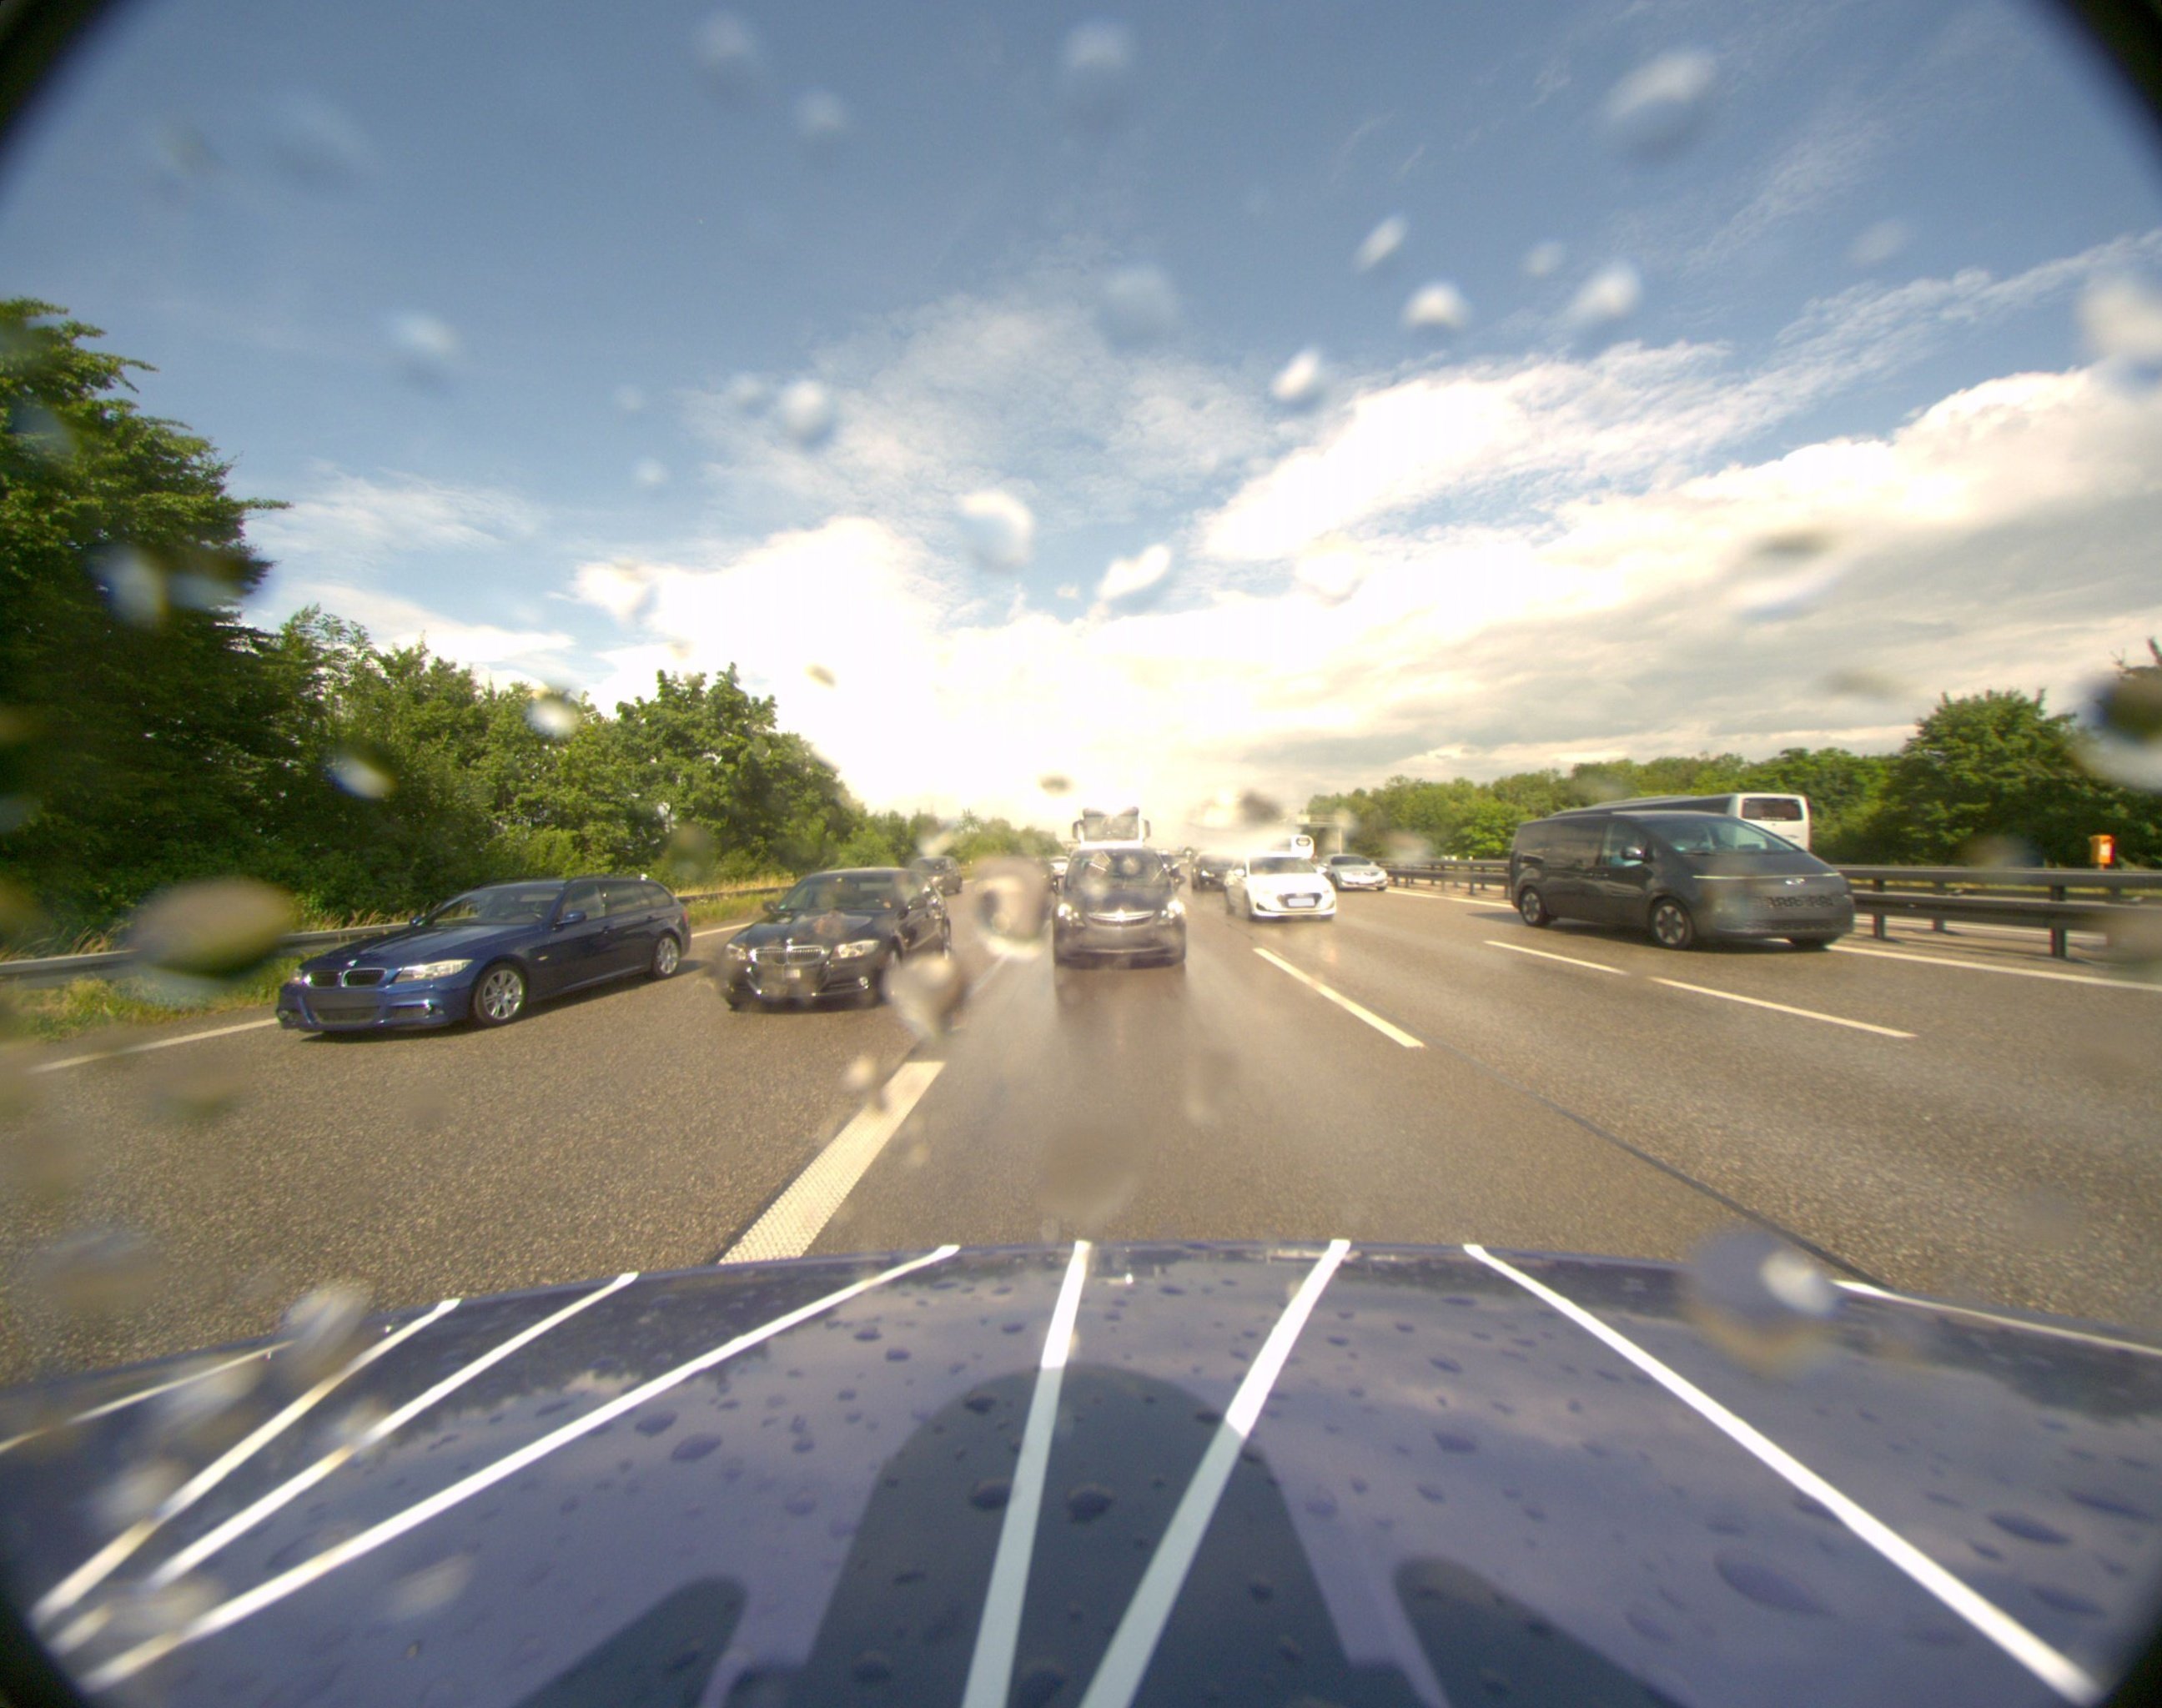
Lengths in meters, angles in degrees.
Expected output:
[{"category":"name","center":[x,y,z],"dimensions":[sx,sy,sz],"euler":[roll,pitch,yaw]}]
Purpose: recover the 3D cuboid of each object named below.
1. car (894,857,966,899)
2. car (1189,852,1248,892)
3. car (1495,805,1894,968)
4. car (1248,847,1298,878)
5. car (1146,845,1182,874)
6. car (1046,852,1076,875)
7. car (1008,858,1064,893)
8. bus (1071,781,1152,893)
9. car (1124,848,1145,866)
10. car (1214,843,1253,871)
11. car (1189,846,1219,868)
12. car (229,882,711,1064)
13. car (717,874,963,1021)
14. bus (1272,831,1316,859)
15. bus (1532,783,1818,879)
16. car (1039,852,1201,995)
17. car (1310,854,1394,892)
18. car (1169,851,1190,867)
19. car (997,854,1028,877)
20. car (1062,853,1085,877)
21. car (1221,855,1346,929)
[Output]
[{"category":"car","center":[-6.041,0.921,30.988],"dimensions":[1.998,1.481,4.249],"euler":[-2,0,1]},{"category":"car","center":[5.168,0.632,28.951],"dimensions":[1.597,1.390,4.000],"euler":[-1,0,1]},{"category":"car","center":[8.779,0.373,11.723],"dimensions":[1.998,1.906,5.236],"euler":[-1,0,1]},{"category":"car","center":[9.628,0.396,38.351],"dimensions":[1.618,1.412,4.000],"euler":[-1,0,2]},{"category":"car","center":[5.182,0.344,47.933],"dimensions":[1.889,1.707,4.000],"euler":[-2,0,1]},{"category":"car","center":[-1.335,0.637,52.807],"dimensions":[1.857,1.434,4.000],"euler":[-2,0,1]},{"category":"car","center":[-1.887,0.894,32.843],"dimensions":[1.743,1.357,4.002],"euler":[-2,0,6]},{"category":"bus","center":[1.338,-0.645,33.439],"dimensions":[2.904,4.104,9.846],"euler":[-2,0,2]},{"category":"car","center":[5.438,0.306,77.340],"dimensions":[1.900,1.740,4.000],"euler":[-2,0,1]},{"category":"car","center":[10.385,0.190,51.936],"dimensions":[1.900,1.740,4.000],"euler":[-2,0,1]},{"category":"car","center":[10.501,0.253,65.155],"dimensions":[1.900,1.740,4.000],"euler":[-2,0,1]},{"category":"car","center":[-6.413,1.120,8.875],"dimensions":[1.771,1.343,4.580],"euler":[-1,0,2]},{"category":"car","center":[-2.749,1.005,9.639],"dimensions":[1.722,1.346,3.884],"euler":[-2,0,2]},{"category":"bus","center":[27.420,-1.123,98.427],"dimensions":[2.897,3.354,12.473],"euler":[-2,0,4]},{"category":"bus","center":[24.288,-0.832,32.530],"dimensions":[2.946,3.267,12.211],"euler":[-2,0,2]},{"category":"car","center":[0.608,0.821,11.304],"dimensions":[1.858,1.622,4.737],"euler":[-2,0,4]},{"category":"car","center":[9.483,0.635,26.838],"dimensions":[1.856,1.182,3.584],"euler":[-1,0,4]},{"category":"car","center":[11.096,0.533,85.594],"dimensions":[1.900,1.740,4.000],"euler":[-2,0,1]},{"category":"car","center":[-5.109,0.842,56.784],"dimensions":[1.867,1.565,4.000],"euler":[-2,0,1]},{"category":"car","center":[-0.605,0.891,62.326],"dimensions":[1.713,1.792,3.540],"euler":[-2,1,1]},{"category":"car","center":[4.320,0.742,16.864],"dimensions":[1.809,1.389,4.240],"euler":[-1,0,3]}]
